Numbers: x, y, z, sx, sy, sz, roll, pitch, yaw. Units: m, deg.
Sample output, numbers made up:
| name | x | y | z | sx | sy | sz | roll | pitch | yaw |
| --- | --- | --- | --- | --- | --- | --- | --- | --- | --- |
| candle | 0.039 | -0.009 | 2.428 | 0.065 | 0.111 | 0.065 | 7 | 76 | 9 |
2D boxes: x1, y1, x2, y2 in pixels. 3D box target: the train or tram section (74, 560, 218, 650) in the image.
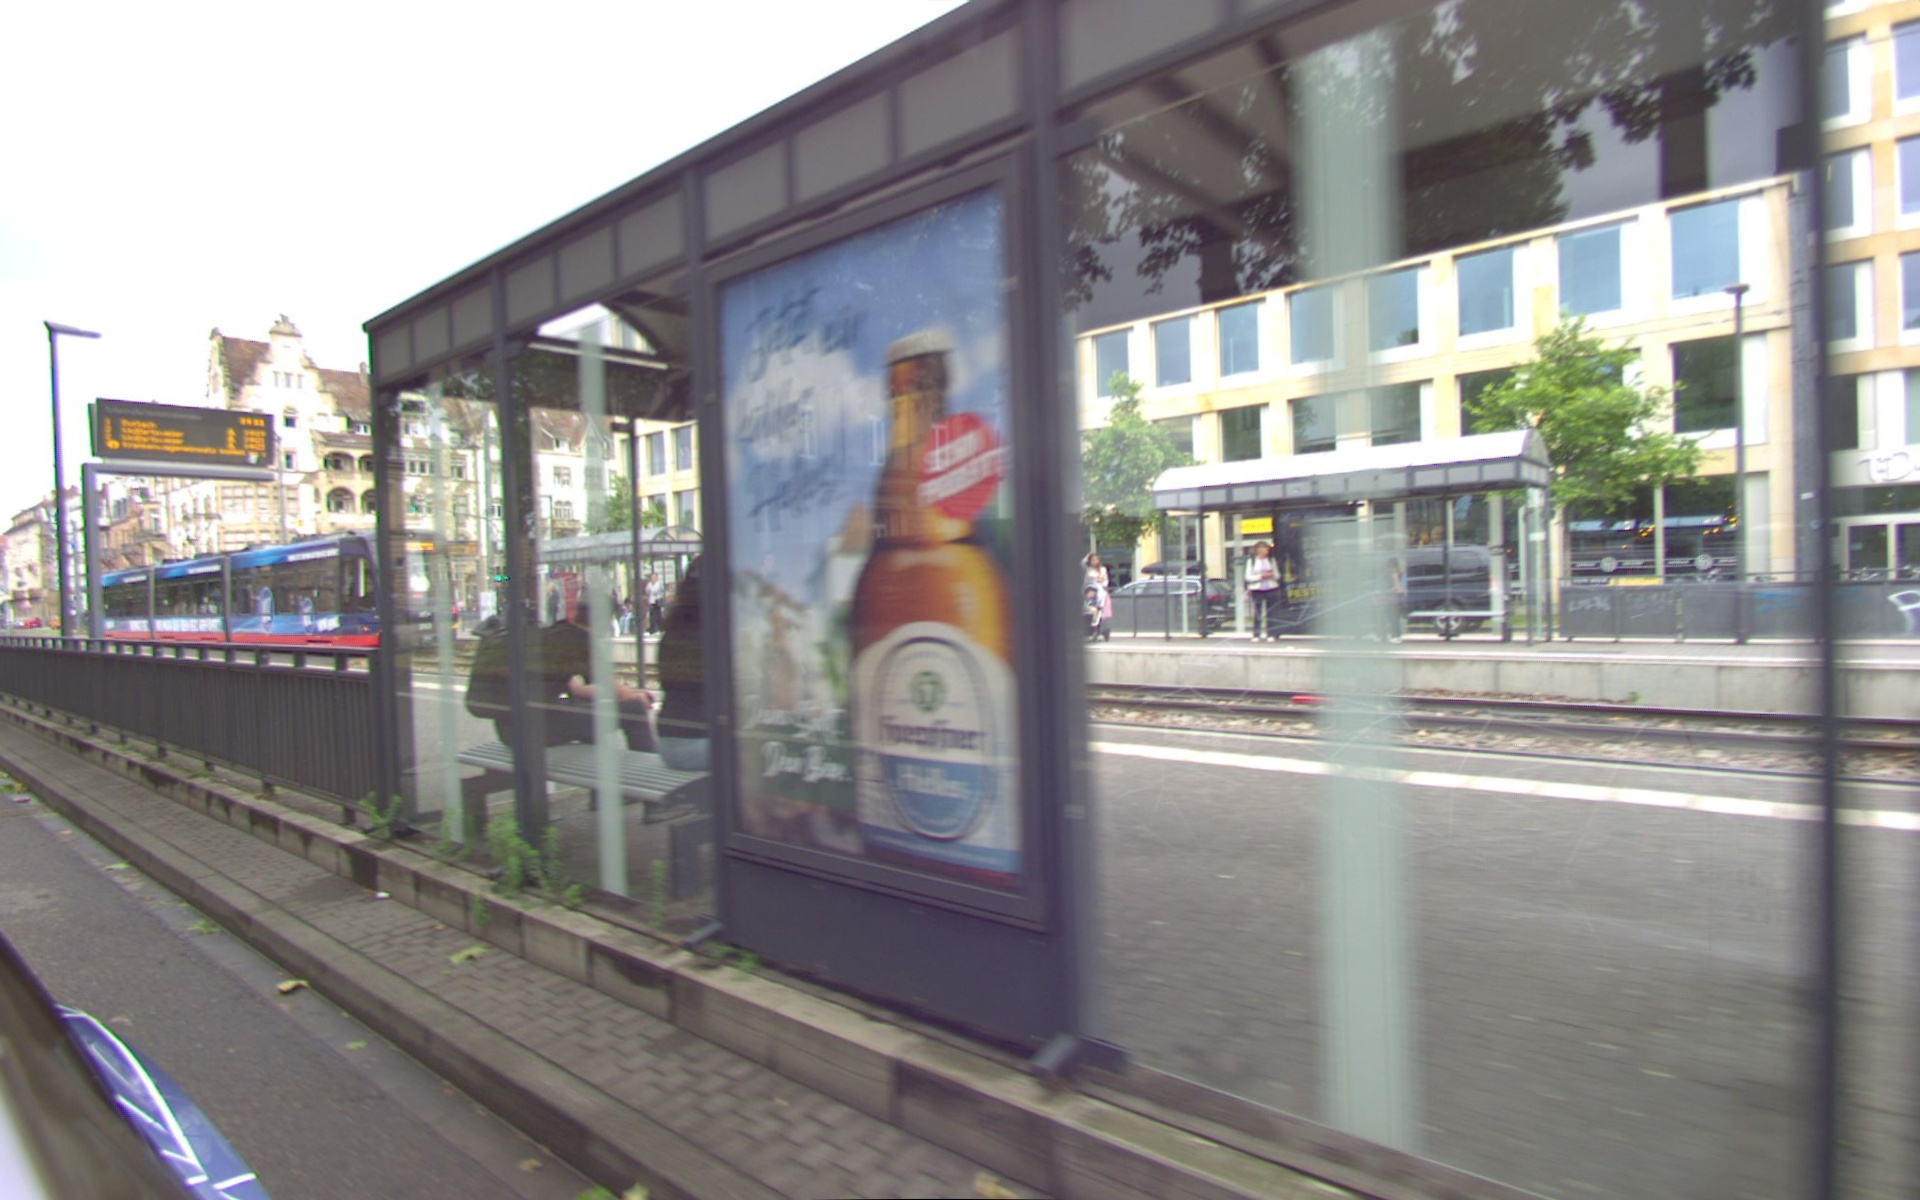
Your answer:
| name | x | y | z | sx | sy | sz | roll | pitch | yaw |
| --- | --- | --- | --- | --- | --- | --- | --- | --- | --- |
| train or tram section | -37.504 | 0.202 | 46.377 | 11.756 | 3.667 | 2.826 | -1 | 1 | 40 |

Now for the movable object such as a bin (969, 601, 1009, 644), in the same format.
| name | x | y | z | sx | sy | sz | roll | pitch | yaw |
| --- | --- | --- | --- | --- | --- | --- | --- | --- | --- |
| movable object such as a bin | 0.523 | 0.400 | 18.226 | 0.529 | 0.753 | 0.469 | -2 | 1 | -43 |

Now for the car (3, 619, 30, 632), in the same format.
| name | x | y | z | sx | sy | sz | roll | pitch | yaw |
| --- | --- | --- | --- | --- | --- | --- | --- | --- | --- |
| car | -127.121 | 3.398 | 136.371 | 3.994 | 1.608 | 1.975 | -1 | 1 | 38 |

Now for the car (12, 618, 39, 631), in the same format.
| name | x | y | z | sx | sy | sz | roll | pitch | yaw |
| --- | --- | --- | --- | --- | --- | --- | --- | --- | --- |
| car | -122.371 | 3.198 | 132.478 | 3.994 | 1.608 | 1.975 | -1 | 1 | 38 |

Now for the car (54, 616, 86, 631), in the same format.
| name | x | y | z | sx | sy | sz | roll | pitch | yaw |
| --- | --- | --- | --- | --- | --- | --- | --- | --- | --- |
| car | -98.295 | 2.578 | 111.764 | 3.994 | 1.608 | 1.975 | -1 | 1 | 38 |

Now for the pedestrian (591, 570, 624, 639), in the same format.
| name | x | y | z | sx | sy | sz | roll | pitch | yaw |
| --- | --- | --- | --- | --- | --- | --- | --- | --- | --- |
| pedestrian | -9.322 | 0.117 | 26.783 | 0.588 | 1.782 | 0.589 | -2 | 1 | -42 |

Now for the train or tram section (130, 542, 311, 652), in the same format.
| name | x | y | z | sx | sy | sz | roll | pitch | yaw |
| --- | --- | --- | --- | --- | --- | --- | --- | --- | --- |
| train or tram section | -28.575 | -0.098 | 38.773 | 11.690 | 3.667 | 2.826 | -1 | 1 | 40 |

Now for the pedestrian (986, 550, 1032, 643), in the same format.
| name | x | y | z | sx | sy | sz | roll | pitch | yaw |
| --- | --- | --- | --- | --- | --- | --- | --- | --- | --- |
| pedestrian | 0.865 | -0.068 | 17.842 | 0.529 | 1.619 | 0.566 | -2 | 1 | -43 |

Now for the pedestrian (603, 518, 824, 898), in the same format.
| name | x | y | z | sx | sy | sz | roll | pitch | yaw |
| --- | --- | --- | --- | --- | --- | --- | --- | --- | --- |
| pedestrian | -0.994 | 0.386 | 4.097 | 0.600 | 1.383 | 0.604 | -1 | 1 | 41 |

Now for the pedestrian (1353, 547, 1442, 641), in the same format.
| name | x | y | z | sx | sy | sz | roll | pitch | yaw |
| --- | --- | --- | --- | --- | --- | --- | --- | --- | --- |
| pedestrian | 6.679 | -0.100 | 15.440 | 0.939 | 1.382 | 1.027 | -1 | 1 | 44 |

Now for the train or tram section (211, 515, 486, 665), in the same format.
| name | x | y | z | sx | sy | sz | roll | pitch | yaw |
| --- | --- | --- | --- | --- | --- | --- | --- | --- | --- |
| train or tram section | -18.927 | -0.235 | 30.608 | 13.509 | 3.719 | 2.826 | -1 | 1 | 40 |

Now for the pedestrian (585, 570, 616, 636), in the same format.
| name | x | y | z | sx | sy | sz | roll | pitch | yaw |
| --- | --- | --- | --- | --- | --- | --- | --- | --- | --- |
| pedestrian | -9.898 | 0.069 | 27.858 | 0.588 | 1.782 | 0.589 | -2 | 1 | -42 |

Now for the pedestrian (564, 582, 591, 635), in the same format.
| name | x | y | z | sx | sy | sz | roll | pitch | yaw |
| --- | --- | --- | --- | --- | --- | --- | --- | --- | --- |
| pedestrian | -11.871 | 0.264 | 31.383 | 0.588 | 1.599 | 0.589 | -1 | 1 | -2 |

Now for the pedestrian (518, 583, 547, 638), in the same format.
| name | x | y | z | sx | sy | sz | roll | pitch | yaw |
| --- | --- | --- | --- | --- | --- | --- | --- | --- | --- |
| pedestrian | -12.717 | 0.305 | 30.085 | 0.588 | 1.599 | 0.589 | -2 | 1 | -42 |

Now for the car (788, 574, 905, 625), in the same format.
| name | x | y | z | sx | sy | sz | roll | pitch | yaw |
| --- | --- | --- | --- | --- | --- | --- | --- | --- | --- |
| car | -4.086 | -0.028 | 36.101 | 4.000 | 1.674 | 1.972 | 0 | 1 | 43 |

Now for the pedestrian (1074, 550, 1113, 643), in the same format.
| name | x | y | z | sx | sy | sz | roll | pitch | yaw |
| --- | --- | --- | --- | --- | --- | --- | --- | --- | --- |
| pedestrian | 2.377 | -0.066 | 18.041 | 0.649 | 1.619 | 0.578 | -1 | 1 | 8 |

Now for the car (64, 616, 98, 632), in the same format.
| name | x | y | z | sx | sy | sz | roll | pitch | yaw |
| --- | --- | --- | --- | --- | --- | --- | --- | --- | --- |
| car | -93.369 | 2.530 | 107.516 | 3.994 | 1.608 | 1.975 | -1 | 1 | 38 |

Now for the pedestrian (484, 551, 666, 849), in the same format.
| name | x | y | z | sx | sy | sz | roll | pitch | yaw |
| --- | --- | --- | --- | --- | --- | --- | --- | --- | --- |
| pedestrian | -1.902 | 0.446 | 5.011 | 0.600 | 1.351 | 0.604 | -1 | 1 | 41 |

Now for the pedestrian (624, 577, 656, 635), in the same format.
| name | x | y | z | sx | sy | sz | roll | pitch | yaw |
| --- | --- | --- | --- | --- | --- | --- | --- | --- | --- |
| pedestrian | -9.038 | 0.167 | 28.585 | 0.593 | 1.599 | 0.584 | -1 | 1 | 22 |

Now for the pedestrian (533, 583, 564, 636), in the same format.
| name | x | y | z | sx | sy | sz | roll | pitch | yaw |
| --- | --- | --- | --- | --- | --- | --- | --- | --- | --- |
| pedestrian | -12.734 | 0.287 | 31.329 | 0.593 | 1.599 | 0.584 | -1 | 1 | 22 |

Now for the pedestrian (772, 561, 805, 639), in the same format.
| name | x | y | z | sx | sy | sz | roll | pitch | yaw |
| --- | --- | --- | --- | --- | --- | --- | --- | --- | --- |
| pedestrian | -4.001 | 0.000 | 23.629 | 0.589 | 1.782 | 0.588 | -1 | 1 | 4 |

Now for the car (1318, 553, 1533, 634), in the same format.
| name | x | y | z | sx | sy | sz | roll | pitch | yaw |
| --- | --- | --- | --- | --- | --- | --- | --- | --- | --- |
| car | 10.480 | -0.146 | 22.930 | 4.000 | 1.674 | 1.972 | 0 | 1 | 43 |

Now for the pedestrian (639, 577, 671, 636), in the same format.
| name | x | y | z | sx | sy | sz | roll | pitch | yaw |
| --- | --- | --- | --- | --- | --- | --- | --- | --- | --- |
| pedestrian | -8.419 | 0.163 | 27.937 | 0.593 | 1.599 | 0.584 | -1 | 1 | 22 |

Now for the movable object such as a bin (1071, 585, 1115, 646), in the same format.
| name | x | y | z | sx | sy | sz | roll | pitch | yaw |
| --- | --- | --- | --- | --- | --- | --- | --- | --- | --- |
| movable object such as a bin | 2.295 | 0.260 | 17.470 | 0.714 | 1.029 | 0.620 | -1 | 1 | 8 |

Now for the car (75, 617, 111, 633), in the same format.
| name | x | y | z | sx | sy | sz | roll | pitch | yaw |
| --- | --- | --- | --- | --- | --- | --- | --- | --- | --- |
| car | -88.664 | 2.563 | 103.474 | 3.994 | 1.453 | 1.975 | -1 | 1 | 38 |

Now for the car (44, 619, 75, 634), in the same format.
| name | x | y | z | sx | sy | sz | roll | pitch | yaw |
| --- | --- | --- | --- | --- | --- | --- | --- | --- | --- |
| car | -103.391 | 3.068 | 116.215 | 3.994 | 1.608 | 1.975 | -1 | 1 | 38 |
